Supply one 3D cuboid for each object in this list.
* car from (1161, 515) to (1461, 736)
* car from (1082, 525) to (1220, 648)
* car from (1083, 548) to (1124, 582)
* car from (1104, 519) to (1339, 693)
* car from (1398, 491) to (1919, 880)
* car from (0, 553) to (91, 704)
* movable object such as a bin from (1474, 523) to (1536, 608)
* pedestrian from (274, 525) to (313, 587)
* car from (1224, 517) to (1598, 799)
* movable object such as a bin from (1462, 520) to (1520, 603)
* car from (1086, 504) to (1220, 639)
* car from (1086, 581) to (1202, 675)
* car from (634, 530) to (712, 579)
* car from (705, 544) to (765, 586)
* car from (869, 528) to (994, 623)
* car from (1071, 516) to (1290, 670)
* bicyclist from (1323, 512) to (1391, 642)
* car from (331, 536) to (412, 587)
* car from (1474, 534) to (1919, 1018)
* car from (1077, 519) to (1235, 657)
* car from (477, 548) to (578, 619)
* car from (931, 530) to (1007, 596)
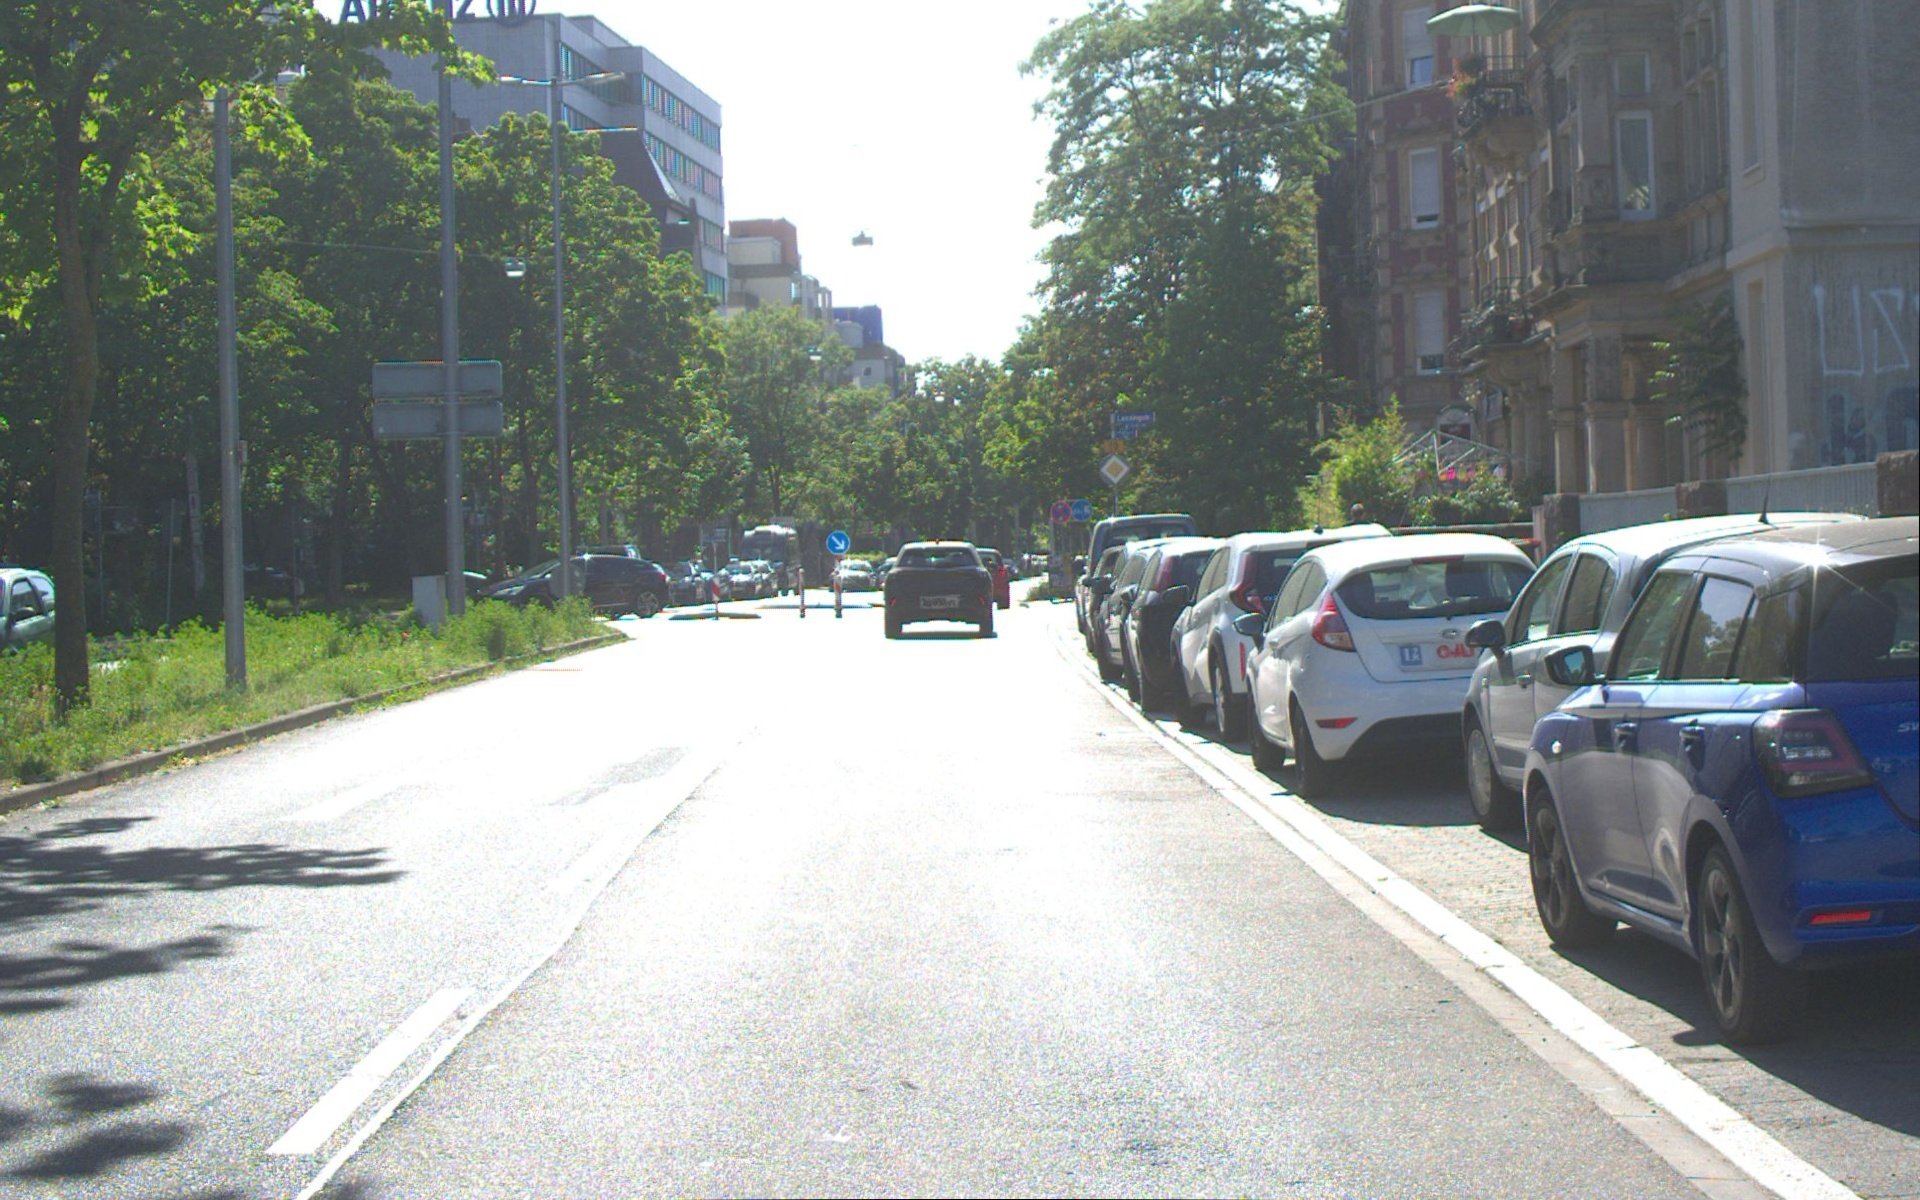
[{"bbox_3d":[2.603,0.144,26.244,1.668,1.514,3.662,-2,1,-3],"label":"car"},{"bbox_3d":[2.459,-0.216,44.945,1.668,1.463,4.274,-2,1,2],"label":"car"},{"bbox_3d":[7.344,-1.802,175.625,1.920,1.634,4.000,-2,1,5],"label":"car"},{"bbox_3d":[2.256,0.009,30.511,1.668,1.389,3.775,-2,1,-1],"label":"car"},{"bbox_3d":[3.304,0.299,15.975,1.668,1.455,3.987,-5,1,-4],"label":"car"},{"bbox_3d":[-10.601,0.287,36.627,1.638,1.514,4.259,-2,1,-1],"label":"car"},{"bbox_3d":[7.582,-0.480,47.829,0.759,1.153,0.608,-1,-2,2],"label":"movable object such as a bin"},{"bbox_3d":[-17.739,-1.181,91.448,0.669,1.621,0.714,-1,1,34],"label":"pedestrian"},{"bbox_3d":[2.649,0.279,20.926,1.608,1.441,3.659,-5,1,-1],"label":"car"},{"bbox_3d":[7.529,-0.541,48.778,0.722,1.153,0.608,-1,-2,2],"label":"movable object such as a bin"},{"bbox_3d":[2.801,-0.448,50.456,1.819,1.837,4.364,-2,1,2],"label":"car"},{"bbox_3d":[3.025,0.437,57.075,1.709,1.420,4.206,1,1,0],"label":"car"},{"bbox_3d":[-9.582,-1.533,115.061,1.759,1.514,3.858,-2,1,7],"label":"car"},{"bbox_3d":[-8.189,-1.283,125.364,1.524,1.427,3.336,-2,1,7],"label":"car"},{"bbox_3d":[-0.507,-0.426,56.973,1.894,1.514,4.001,0,1,-3],"label":"car"},{"bbox_3d":[2.321,-0.121,37.301,1.935,1.514,4.484,-2,1,-1],"label":"car"},{"bbox_3d":[4.935,-0.294,42.806,0.741,1.574,1.100,-1,2,2],"label":"bicyclist"},{"bbox_3d":[-19.907,-1.304,116.204,1.974,1.656,4.001,-2,1,-20],"label":"car"},{"bbox_3d":[2.933,0.446,11.392,1.668,1.178,3.901,-5,1,-2],"label":"car"},{"bbox_3d":[2.310,-0.181,41.219,1.621,1.465,3.299,4,2,0],"label":"car"},{"bbox_3d":[-9.667,-0.390,77.110,1.795,1.514,4.424,0,1,-1],"label":"car"},{"bbox_3d":[0.205,-0.914,83.472,1.792,1.515,3.849,0,2,-1],"label":"car"}]
